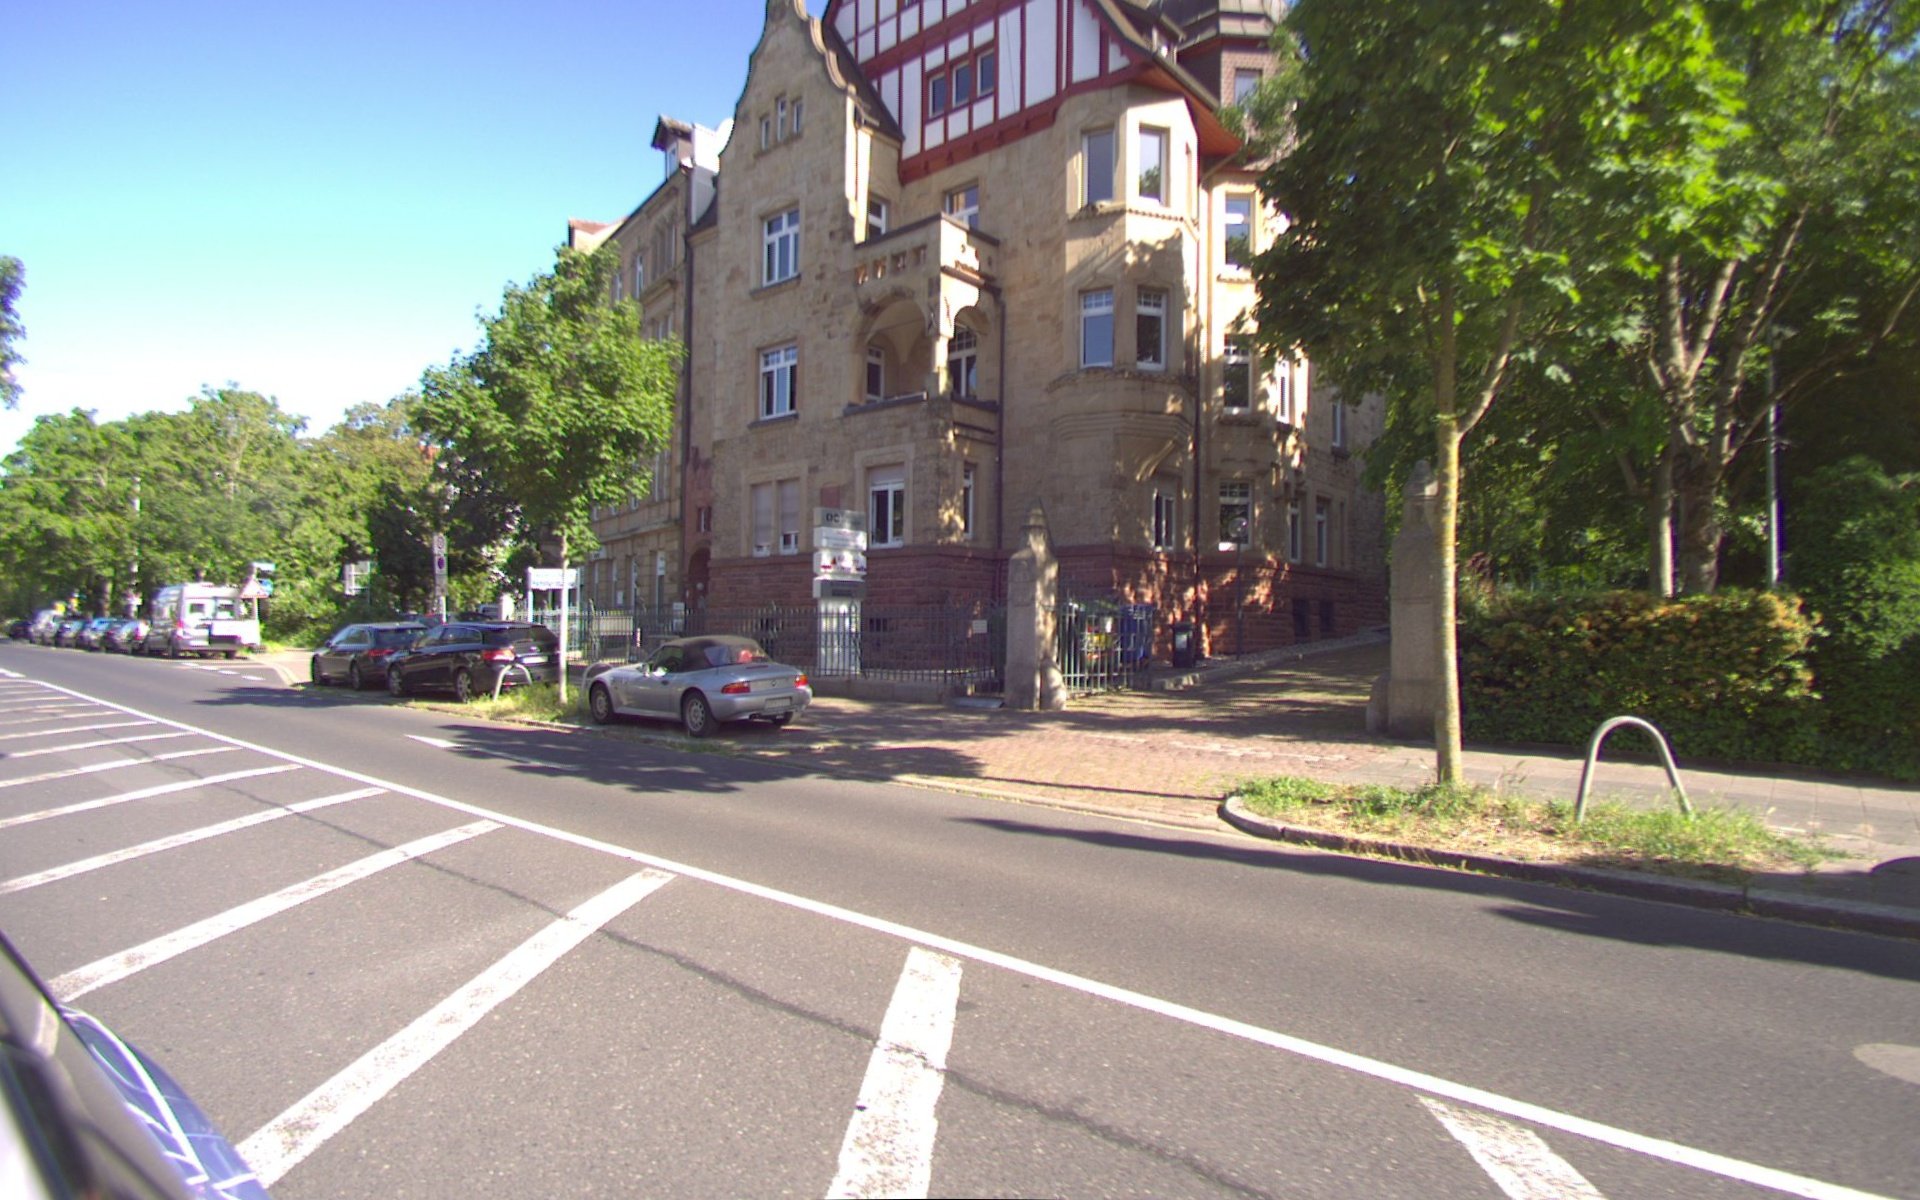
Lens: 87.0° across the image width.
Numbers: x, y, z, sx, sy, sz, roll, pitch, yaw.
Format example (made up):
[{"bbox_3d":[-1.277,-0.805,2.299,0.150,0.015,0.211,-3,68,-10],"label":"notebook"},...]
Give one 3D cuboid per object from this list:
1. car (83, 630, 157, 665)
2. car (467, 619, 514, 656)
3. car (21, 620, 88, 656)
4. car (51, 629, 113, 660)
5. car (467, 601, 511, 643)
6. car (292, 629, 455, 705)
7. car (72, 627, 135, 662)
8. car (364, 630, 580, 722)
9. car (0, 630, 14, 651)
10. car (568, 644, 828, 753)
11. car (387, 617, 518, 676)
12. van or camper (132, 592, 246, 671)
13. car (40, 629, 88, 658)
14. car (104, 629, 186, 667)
[{"bbox_3d":[-37.214,2.084,44.785,4.402,1.424,1.762,-1,-4,41],"label":"car"},{"bbox_3d":[-21.317,1.681,45.987,1.833,1.524,3.541,3,-2,-25],"label":"car"},{"bbox_3d":[-53.855,2.248,60.157,4.867,2.052,1.965,-1,-4,37],"label":"car"},{"bbox_3d":[-45.794,2.326,52.763,4.266,1.493,1.575,0,-3,38],"label":"car"},{"bbox_3d":[-23.466,1.069,50.489,1.833,1.928,4.466,3,-1,-25],"label":"car"},{"bbox_3d":[-13.589,1.470,23.317,4.718,1.438,1.836,-1,2,42],"label":"car"},{"bbox_3d":[-42.179,2.141,49.813,4.557,1.549,1.761,0,0,42],"label":"car"},{"bbox_3d":[-9.729,1.411,20.023,4.697,1.505,1.839,-1,1,36],"label":"car"},{"bbox_3d":[-70.134,2.914,73.547,4.131,1.461,1.576,-1,-3,41],"label":"car"},{"bbox_3d":[-3.847,1.303,14.487,4.013,1.265,1.660,-1,-1,42],"label":"car"},{"bbox_3d":[-17.125,1.514,34.381,1.976,1.682,4.135,-3,0,7],"label":"car"},{"bbox_3d":[-29.178,1.179,38.195,6.085,2.760,2.193,-1,-2,41],"label":"van or camper"},{"bbox_3d":[-50.165,2.437,56.635,3.957,1.513,1.448,0,-3,41],"label":"car"},{"bbox_3d":[-33.596,1.965,41.697,4.659,1.468,1.676,-1,-4,40],"label":"car"}]
